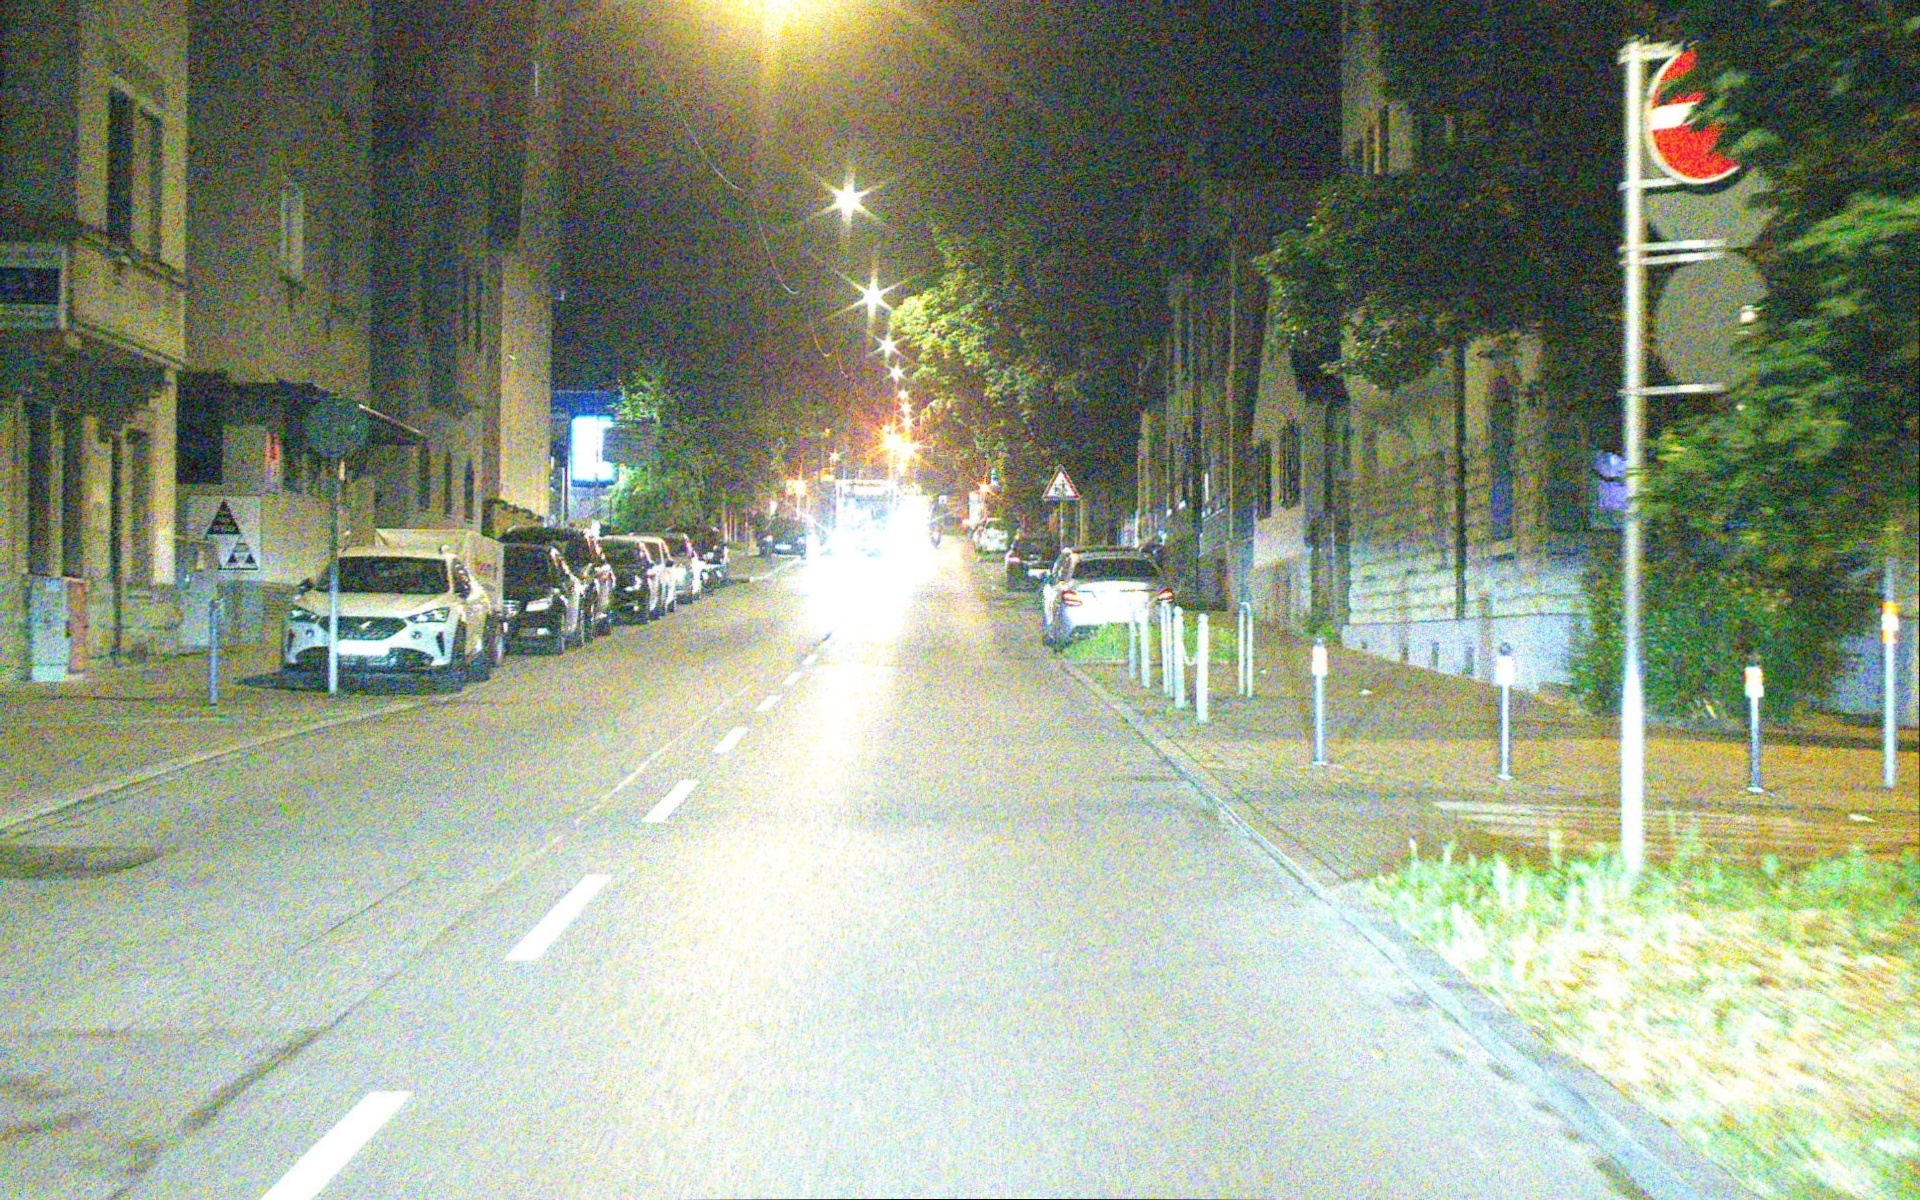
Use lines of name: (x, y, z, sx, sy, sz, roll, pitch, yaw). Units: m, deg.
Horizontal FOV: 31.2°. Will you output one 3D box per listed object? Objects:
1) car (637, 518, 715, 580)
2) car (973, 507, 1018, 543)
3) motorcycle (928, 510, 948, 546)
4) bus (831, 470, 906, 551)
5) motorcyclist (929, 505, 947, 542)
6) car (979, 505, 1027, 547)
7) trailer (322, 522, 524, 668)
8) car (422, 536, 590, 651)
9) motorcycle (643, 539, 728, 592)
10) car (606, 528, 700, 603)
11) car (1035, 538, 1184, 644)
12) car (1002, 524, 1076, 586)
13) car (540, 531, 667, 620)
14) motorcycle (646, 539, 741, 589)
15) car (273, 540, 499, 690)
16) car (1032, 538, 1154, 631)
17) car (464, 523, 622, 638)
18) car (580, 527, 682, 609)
car: (-7.018, -1.259, 85.167, 1.638, 1.493, 2.765, 1, 1, 1)
car: (1.559, -3.310, 150.862, 1.868, 1.521, 4.150, -1, 2, 0)
motorcycle: (-1.058, -3.488, 167.003, 0.931, 1.746, 2.625, 1, 1, 0)
bus: (-3.754, -3.741, 142.817, 2.837, 3.166, 10.499, 1, 2, 0)
motorcyclist: (-1.054, -3.724, 167.005, 0.848, 1.746, 0.805, 1, 1, 0)
car: (1.715, -2.953, 137.375, 1.812, 1.588, 4.274, -1, 2, 0)
trailer: (-6.416, -0.080, 41.400, 1.638, 1.634, 3.439, 2, 1, 4)
car: (-6.204, -0.133, 47.429, 1.835, 1.442, 4.545, 0, 2, -2)
motorcycle: (-6.220, -0.791, 77.718, 0.714, 1.143, 2.208, -2, 3, -43)
car: (-6.536, -0.755, 73.469, 1.704, 1.486, 4.228, -1, 2, -1)
car: (2.137, -0.157, 50.278, 1.845, 1.412, 4.646, -2, 1, -1)
car: (2.017, -1.176, 88.714, 1.763, 1.471, 4.081, -1, 2, 0)
car: (-6.271, -0.449, 60.914, 1.863, 1.486, 4.281, 1, 1, -1)
motorcycle: (-6.183, -0.843, 79.737, 2.206, 1.127, 0.714, 1, 2, 33)
car: (-6.088, 0.113, 36.897, 1.814, 1.479, 4.348, 1, 1, -2)
car: (2.125, -0.276, 55.888, 1.771, 1.443, 4.020, 0, 1, -1)
car: (-6.330, -0.341, 52.597, 1.835, 1.613, 4.545, 1, 2, 0)
car: (-6.260, -0.621, 65.734, 1.621, 1.486, 3.781, 1, 1, -1)
